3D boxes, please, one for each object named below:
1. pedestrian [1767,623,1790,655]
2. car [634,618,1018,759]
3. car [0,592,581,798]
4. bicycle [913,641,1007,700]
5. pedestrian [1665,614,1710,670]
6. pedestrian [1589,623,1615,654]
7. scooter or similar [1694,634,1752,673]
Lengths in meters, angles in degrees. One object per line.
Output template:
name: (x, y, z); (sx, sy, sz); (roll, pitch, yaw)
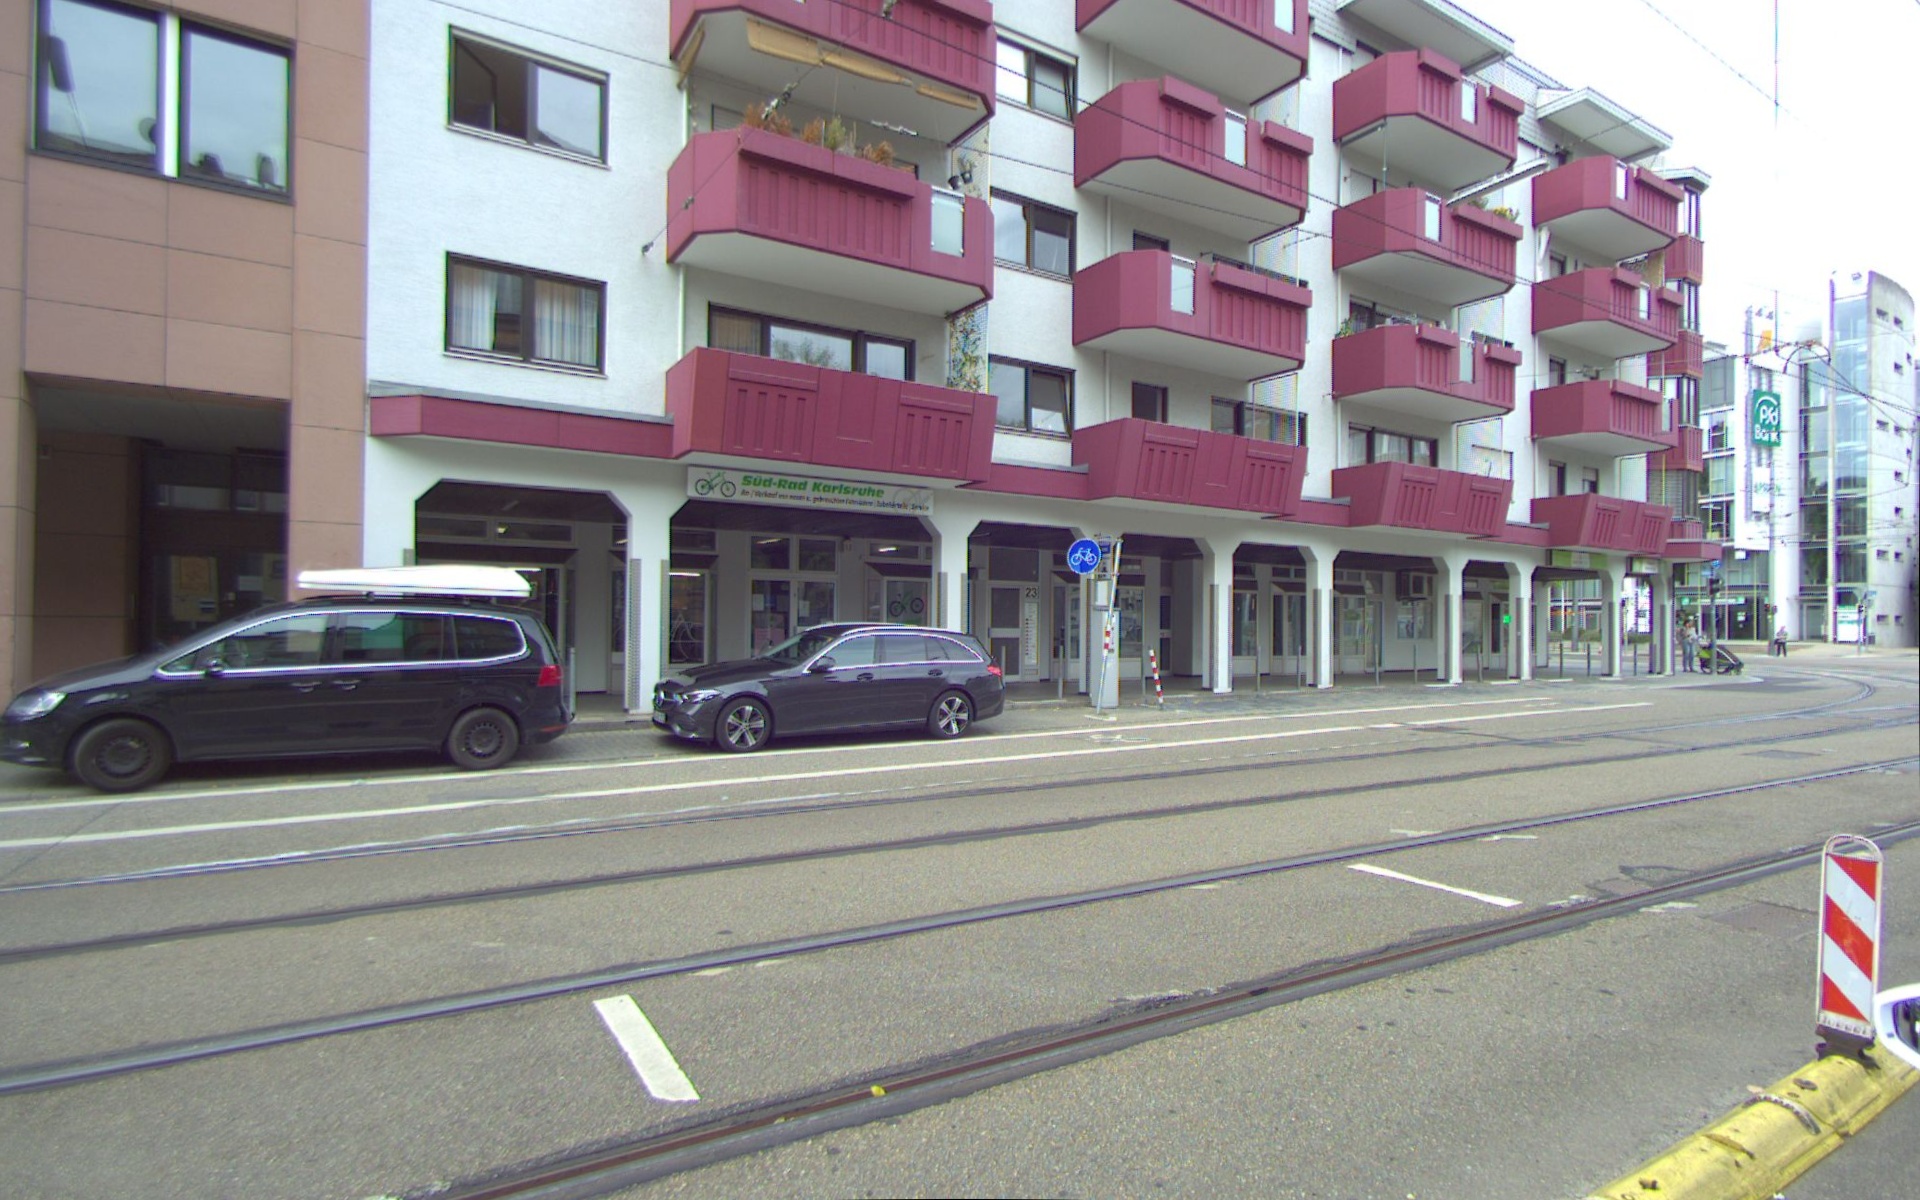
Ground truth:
pedestrian: (49.498, 2.342, 60.746); (0.754, 1.889, 0.833); (1, -1, -17)
car: (-1.655, 1.028, 13.052); (4.645, 1.500, 1.745); (1, 1, -32)
car: (-6.477, 0.817, 10.240); (4.645, 1.669, 1.797); (1, 1, -32)
bicycle: (0.011, 1.193, 17.338); (1.636, 0.966, 0.560); (1, -1, -39)
pedestrian: (23.380, 1.339, 32.278); (0.803, 1.766, 0.942); (1, -1, -33)
pedestrian: (35.673, 2.141, 55.824); (0.753, 1.693, 0.935); (1, -1, -17)
scooter or similar: (23.902, 1.655, 31.483); (0.936, 1.143, 1.189); (1, 0, -32)
